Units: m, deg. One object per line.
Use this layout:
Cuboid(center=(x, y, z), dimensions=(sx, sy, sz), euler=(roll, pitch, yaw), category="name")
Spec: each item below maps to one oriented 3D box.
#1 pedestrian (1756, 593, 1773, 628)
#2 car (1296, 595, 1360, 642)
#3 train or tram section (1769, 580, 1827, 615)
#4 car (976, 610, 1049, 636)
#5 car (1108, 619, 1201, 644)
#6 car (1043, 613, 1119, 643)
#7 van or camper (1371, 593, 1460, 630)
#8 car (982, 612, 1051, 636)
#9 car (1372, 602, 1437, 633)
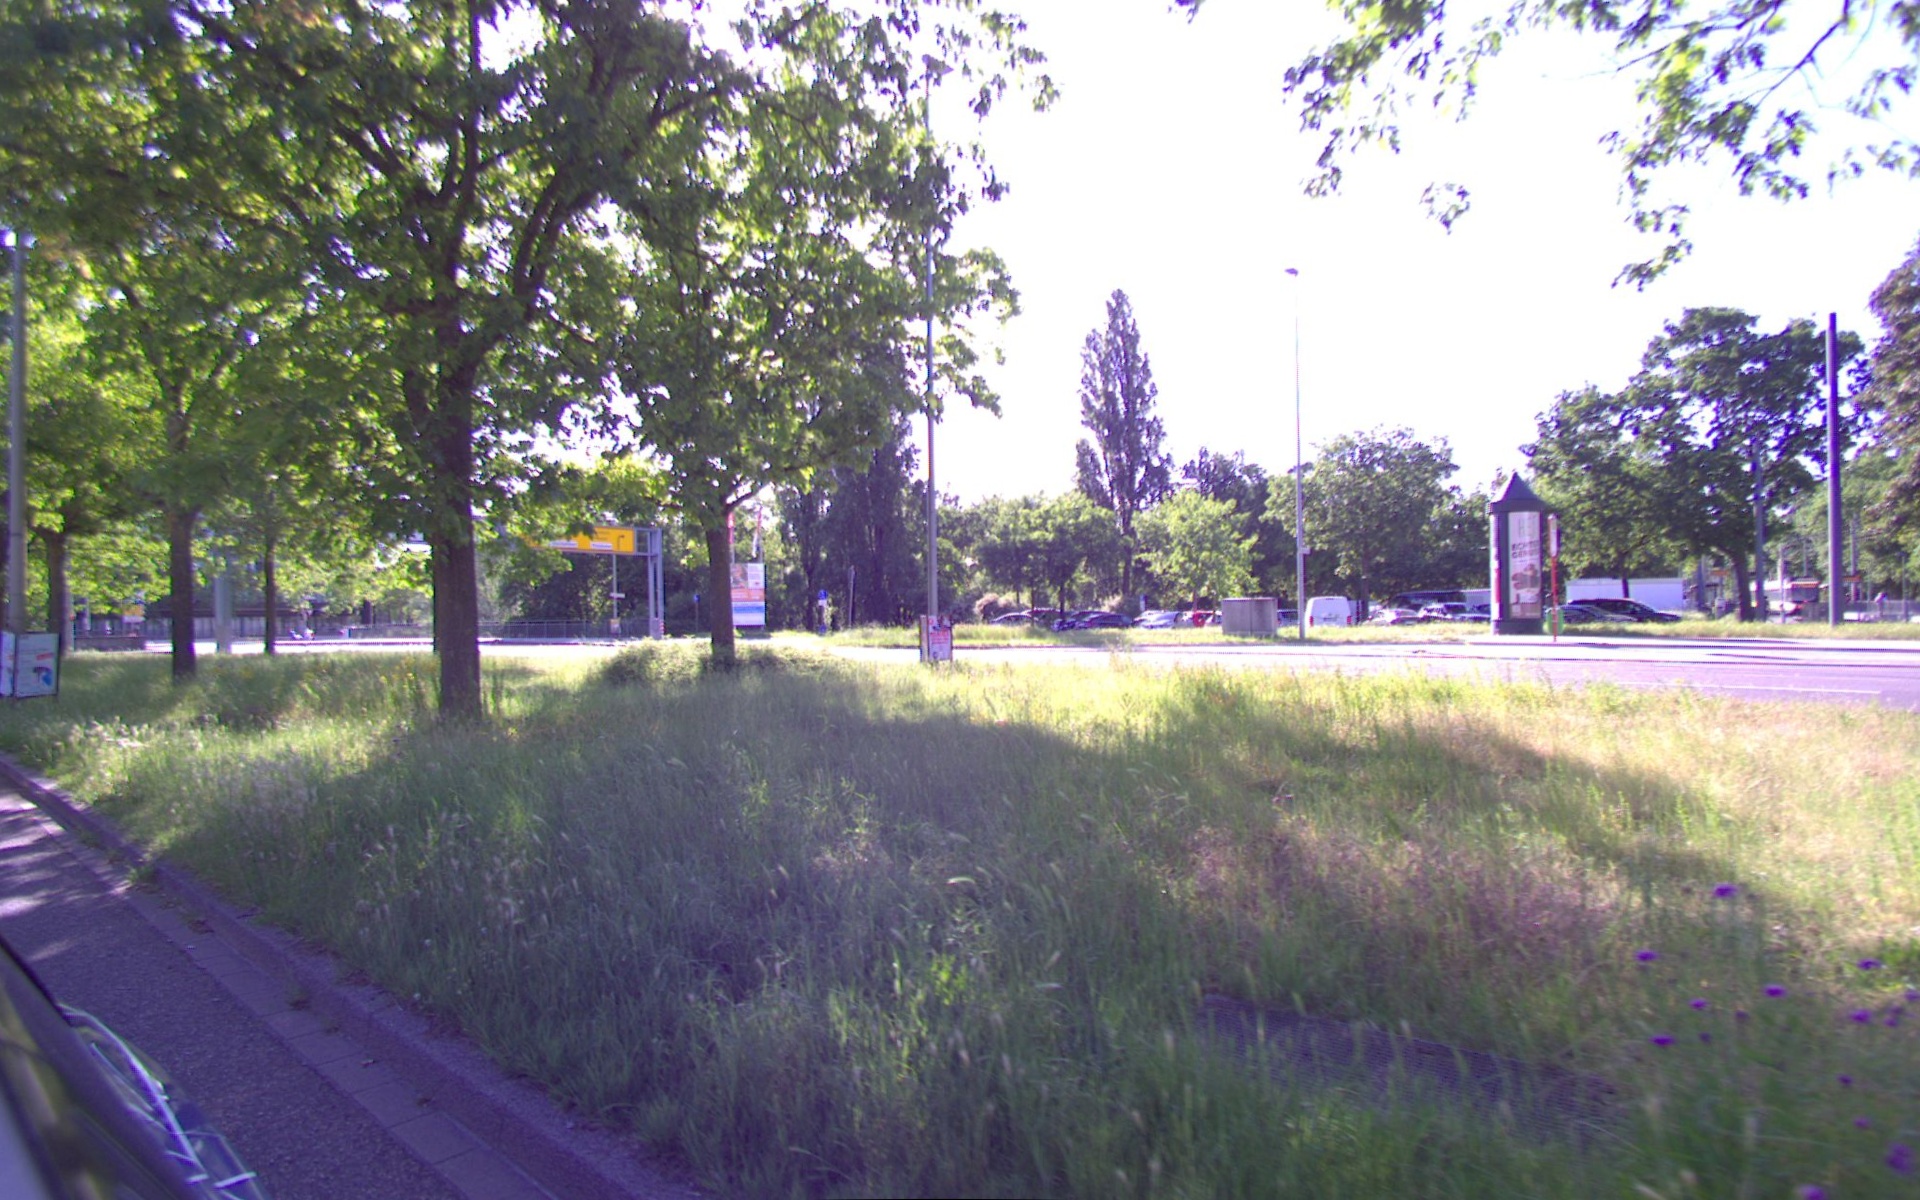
Cuboid(center=(44.094, 0.584, 55.501), dimensions=(0.582, 1.869, 0.633), euler=(-2, -1, 29), category="pedestrian")
Cuboid(center=(16.840, 0.834, 46.520), dimensions=(2.218, 2.029, 4.977), euler=(-1, -1, 14), category="car")
Cuboid(center=(78.340, -0.280, 94.959), dimensions=(2.464, 2.962, 19.609), euler=(-2, -1, 35), category="train or tram section")
Cuboid(center=(3.449, 1.488, 65.632), dimensions=(4.507, 1.475, 1.994), euler=(-1, 1, 11), category="car")
Cuboid(center=(9.355, 1.539, 48.785), dimensions=(3.989, 1.137, 1.801), euler=(-2, -1, 34), category="car")
Cuboid(center=(6.194, 1.449, 52.181), dimensions=(1.791, 1.459, 4.012), euler=(-1, -1, -31), category="car")
Cuboid(center=(26.867, 0.716, 59.816), dimensions=(1.966, 2.112, 4.413), euler=(-1, -1, -34), category="van or camper")
Cuboid(center=(3.869, 1.620, 69.242), dimensions=(4.507, 1.475, 1.994), euler=(-1, 1, 11), category="car")
Cuboid(center=(19.773, 0.761, 45.184), dimensions=(1.981, 1.292, 3.982), euler=(-1, -1, 14), category="car")
